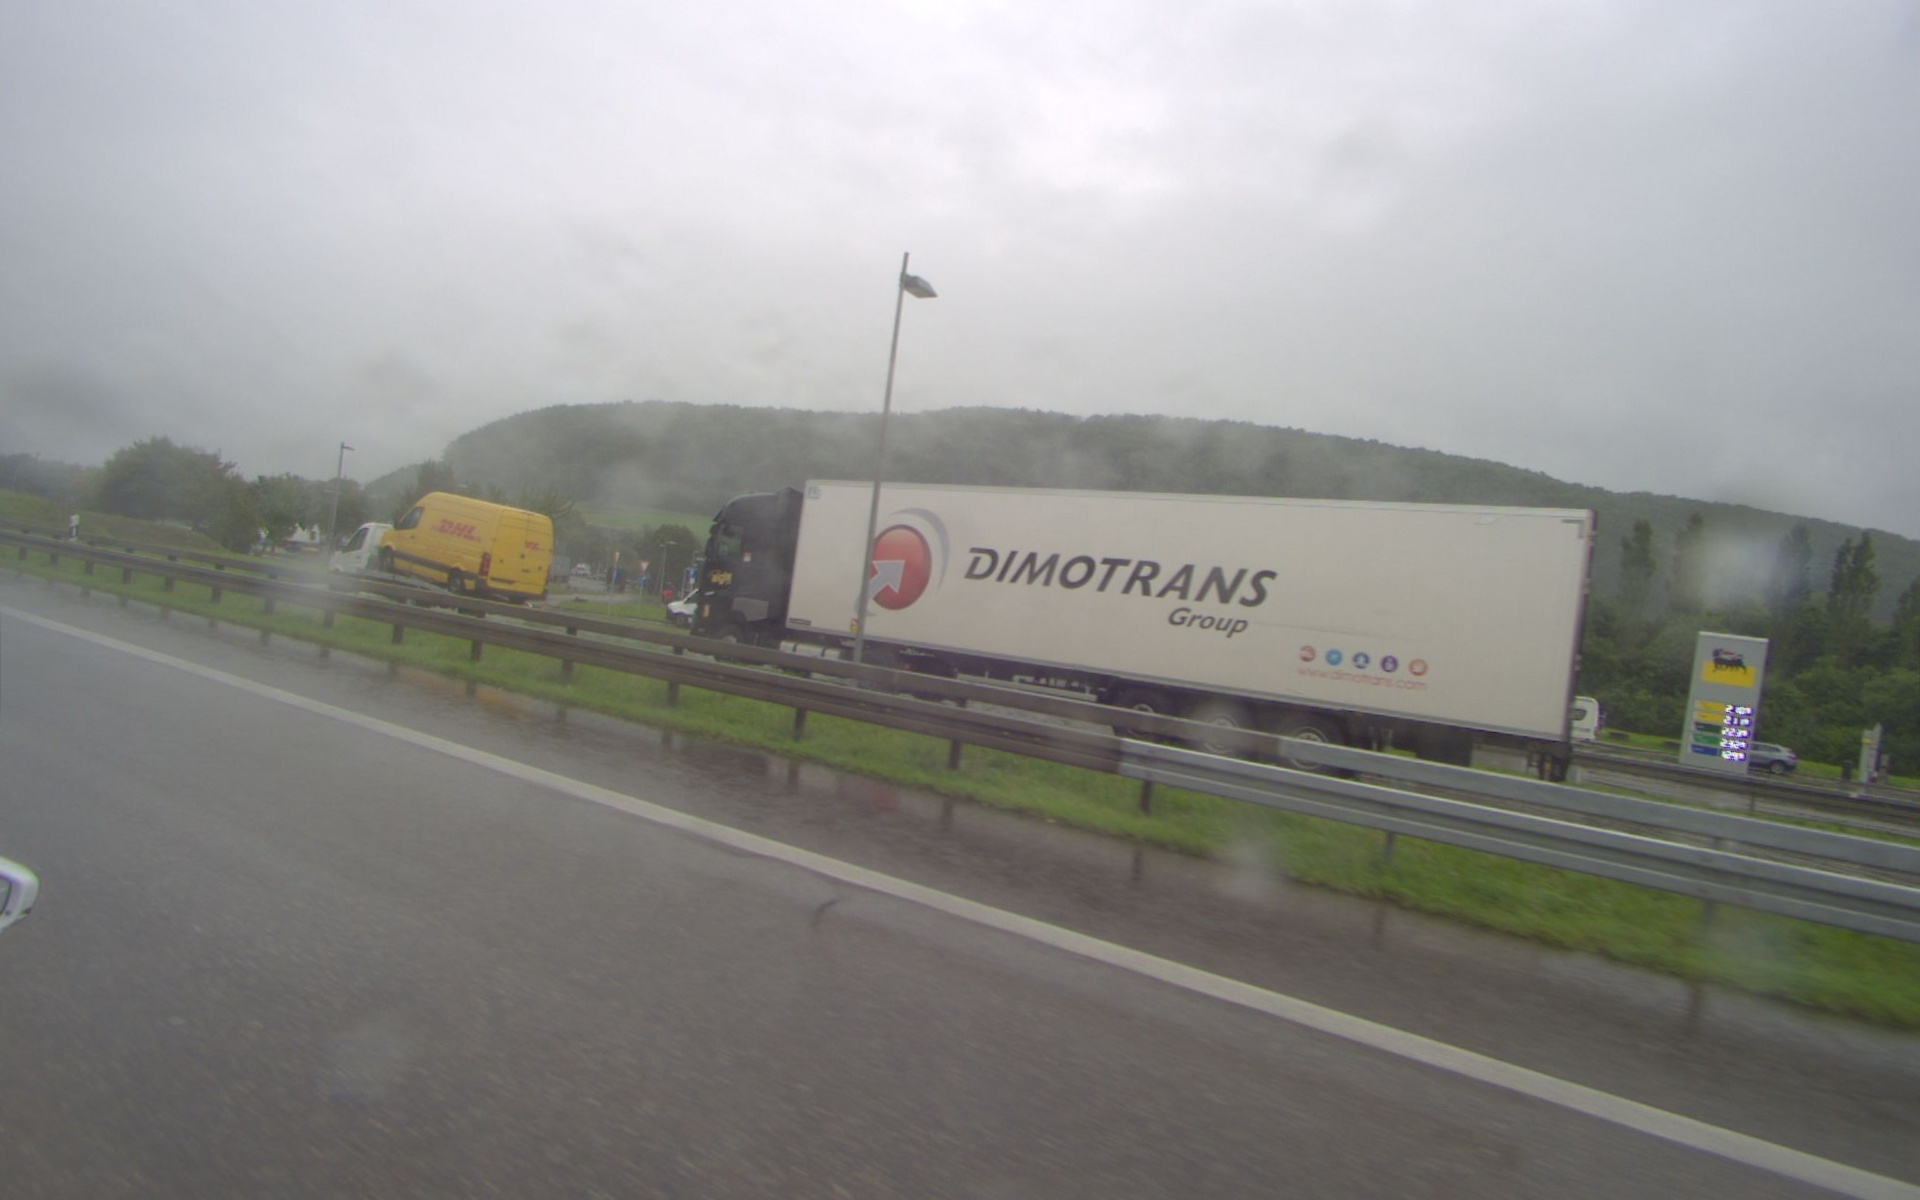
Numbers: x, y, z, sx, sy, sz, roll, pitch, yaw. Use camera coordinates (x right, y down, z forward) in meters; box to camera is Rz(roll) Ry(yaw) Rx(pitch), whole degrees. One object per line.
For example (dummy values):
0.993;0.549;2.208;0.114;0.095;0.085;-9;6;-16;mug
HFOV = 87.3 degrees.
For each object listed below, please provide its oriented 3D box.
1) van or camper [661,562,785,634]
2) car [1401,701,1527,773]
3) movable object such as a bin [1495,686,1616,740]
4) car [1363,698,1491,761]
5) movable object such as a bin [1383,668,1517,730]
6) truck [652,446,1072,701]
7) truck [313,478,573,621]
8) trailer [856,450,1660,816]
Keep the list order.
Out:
-13.011;-0.068;55.492;6.062;3.094;2.000;8;-1;-3;van or camper
19.116;5.164;38.164;3.934;2.037;1.964;6;-2;32;car
31.817;6.007;53.911;5.293;2.037;2.171;6;-2;31;movable object such as a bin
17.816;4.900;38.418;4.032;1.717;1.996;6;-2;34;car
24.299;4.901;49.942;5.629;2.214;1.998;6;-2;31;movable object such as a bin
-2.141;-0.625;20.851;7.688;4.268;3.534;6;-2;32;truck
-14.781;-1.528;28.391;8.721;3.183;2.294;6;-2;34;truck
4.171;0.100;16.738;11.726;4.310;3.522;6;-2;33;trailer
